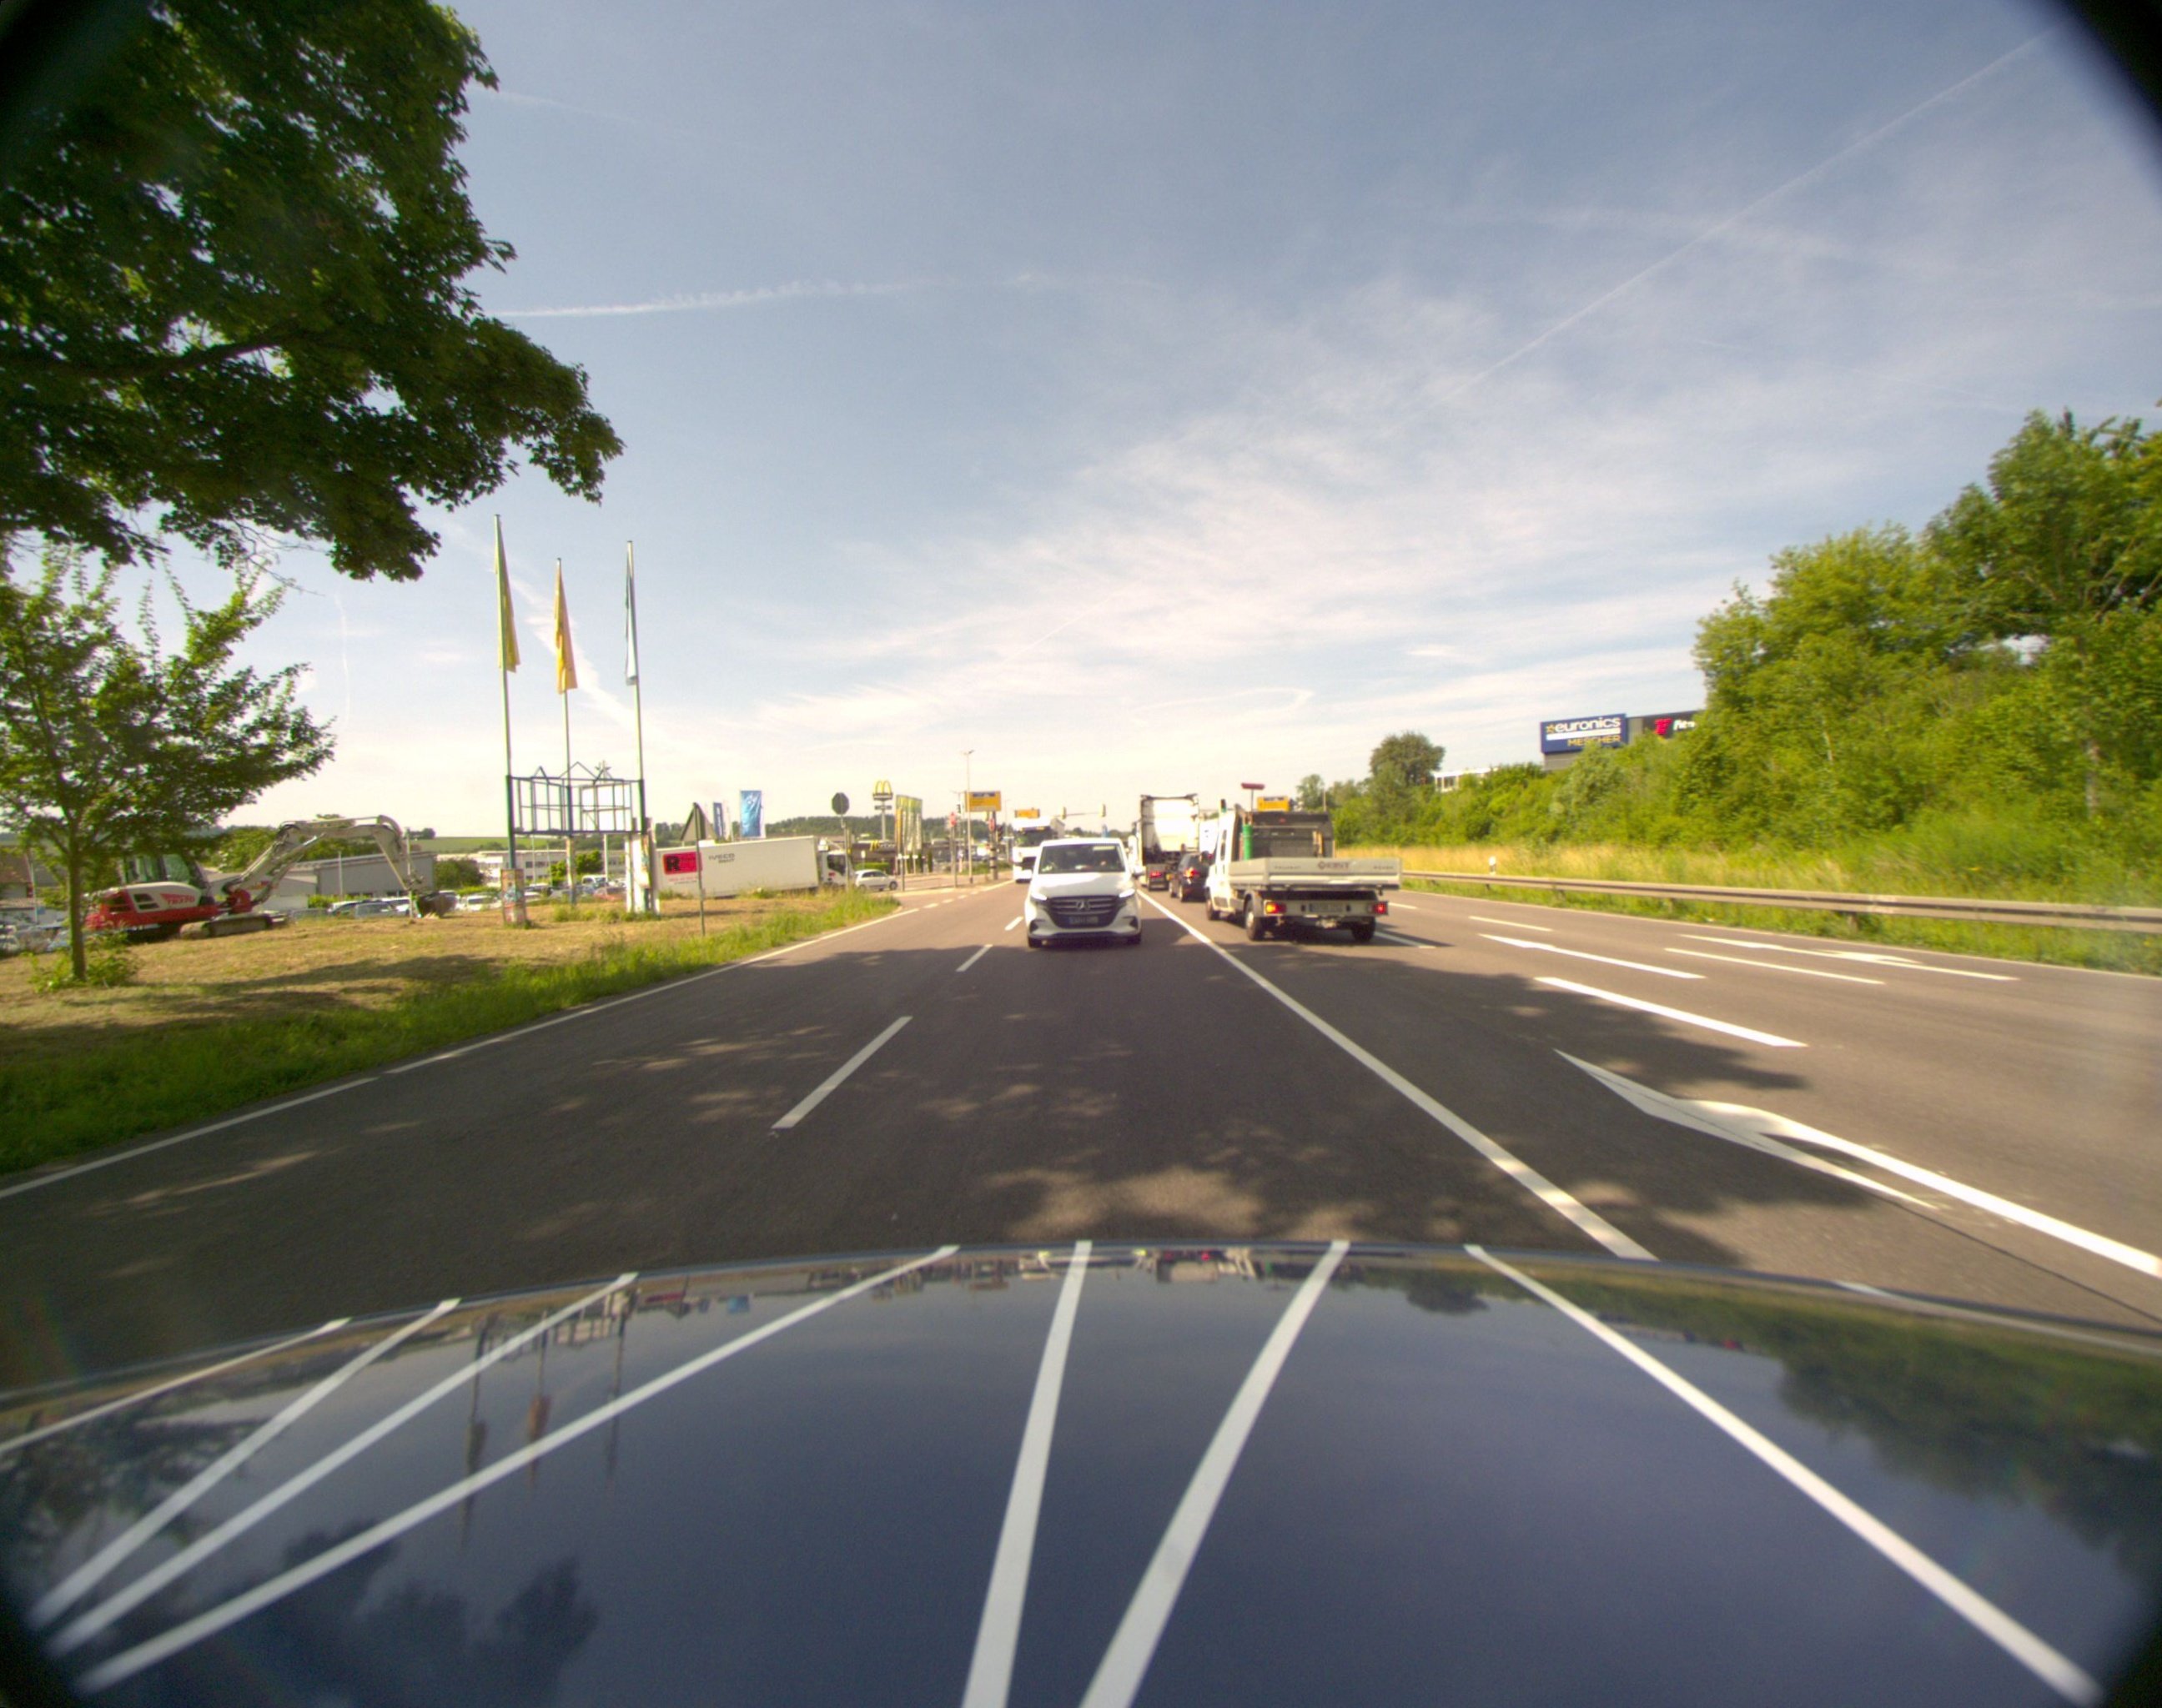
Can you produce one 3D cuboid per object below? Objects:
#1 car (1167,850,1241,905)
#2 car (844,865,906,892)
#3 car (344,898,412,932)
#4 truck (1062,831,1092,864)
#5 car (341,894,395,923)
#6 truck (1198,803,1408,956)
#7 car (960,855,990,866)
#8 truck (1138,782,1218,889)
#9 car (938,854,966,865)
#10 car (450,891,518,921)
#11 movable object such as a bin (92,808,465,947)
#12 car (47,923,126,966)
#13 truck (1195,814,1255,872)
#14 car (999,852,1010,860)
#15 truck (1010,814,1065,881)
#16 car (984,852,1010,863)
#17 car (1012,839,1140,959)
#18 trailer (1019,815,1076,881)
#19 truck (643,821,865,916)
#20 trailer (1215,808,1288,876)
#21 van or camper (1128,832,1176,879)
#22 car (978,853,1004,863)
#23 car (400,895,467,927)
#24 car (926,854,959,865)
[{"bbox_3d":[3.770,0.659,23.893,1.715,1.542,4.108,-1,1,1],"label":"car"},{"bbox_3d":[-14.240,1.692,52.612,1.706,1.496,3.762,-2,2,41],"label":"car"},{"bbox_3d":[-40.370,3.483,43.620,3.916,1.608,2.096,0,1,35],"label":"car"},{"bbox_3d":[-0.384,-0.793,96.895,2.646,3.964,9.242,-1,1,7],"label":"truck"},{"bbox_3d":[-47.483,3.596,50.584,4.069,1.608,2.013,0,1,38],"label":"car"},{"bbox_3d":[3.804,0.349,14.560,2.232,2.254,6.499,-1,1,1],"label":"truck"},{"bbox_3d":[-15.791,0.902,113.321,1.855,1.567,4.242,0,1,38],"label":"car"},{"bbox_3d":[3.950,-0.744,32.251,2.543,4.064,6.264,-1,1,0],"label":"truck"},{"bbox_3d":[-19.663,0.802,116.014,1.771,1.661,4.178,0,1,38],"label":"car"},{"bbox_3d":[-37.368,3.219,47.539,4.461,1.608,2.096,0,1,35],"label":"car"},{"bbox_3d":[-21.632,0.492,20.918,2.893,3.189,6.718,0,1,38],"label":"movable object such as a bin"},{"bbox_3d":[-46.881,4.197,35.806,3.988,1.543,2.004,0,1,34],"label":"car"},{"bbox_3d":[11.095,-0.840,59.611,2.837,4.092,9.680,-1,1,0],"label":"truck"},{"bbox_3d":[-15.866,0.356,158.550,1.907,1.645,4.709,-1,1,-1],"label":"car"},{"bbox_3d":[-2.634,-0.412,48.039,2.646,3.964,6.042,-1,1,4],"label":"truck"},{"bbox_3d":[-14.308,0.574,128.875,4.031,1.661,1.772,-1,1,-28],"label":"car"},{"bbox_3d":[0.056,0.678,14.848,1.993,1.858,5.804,-1,1,3],"label":"car"},{"bbox_3d":[-2.208,-0.456,54.275,2.612,4.203,11.294,-1,1,5],"label":"trailer"},{"bbox_3d":[-16.232,0.622,38.611,9.705,3.608,2.763,-6,2,-15],"label":"truck"},{"bbox_3d":[11.121,-0.772,50.428,2.847,4.046,8.754,-1,1,0],"label":"trailer"},{"bbox_3d":[4.168,0.028,45.653,2.336,2.585,6.978,-1,1,1],"label":"van or camper"},{"bbox_3d":[-15.561,0.645,130.910,4.007,1.661,1.916,-1,1,-34],"label":"car"},{"bbox_3d":[-38.809,3.379,45.516,4.023,1.608,2.096,0,1,35],"label":"car"},{"bbox_3d":[-21.366,0.808,117.309,1.907,1.661,4.828,0,1,38],"label":"car"}]
